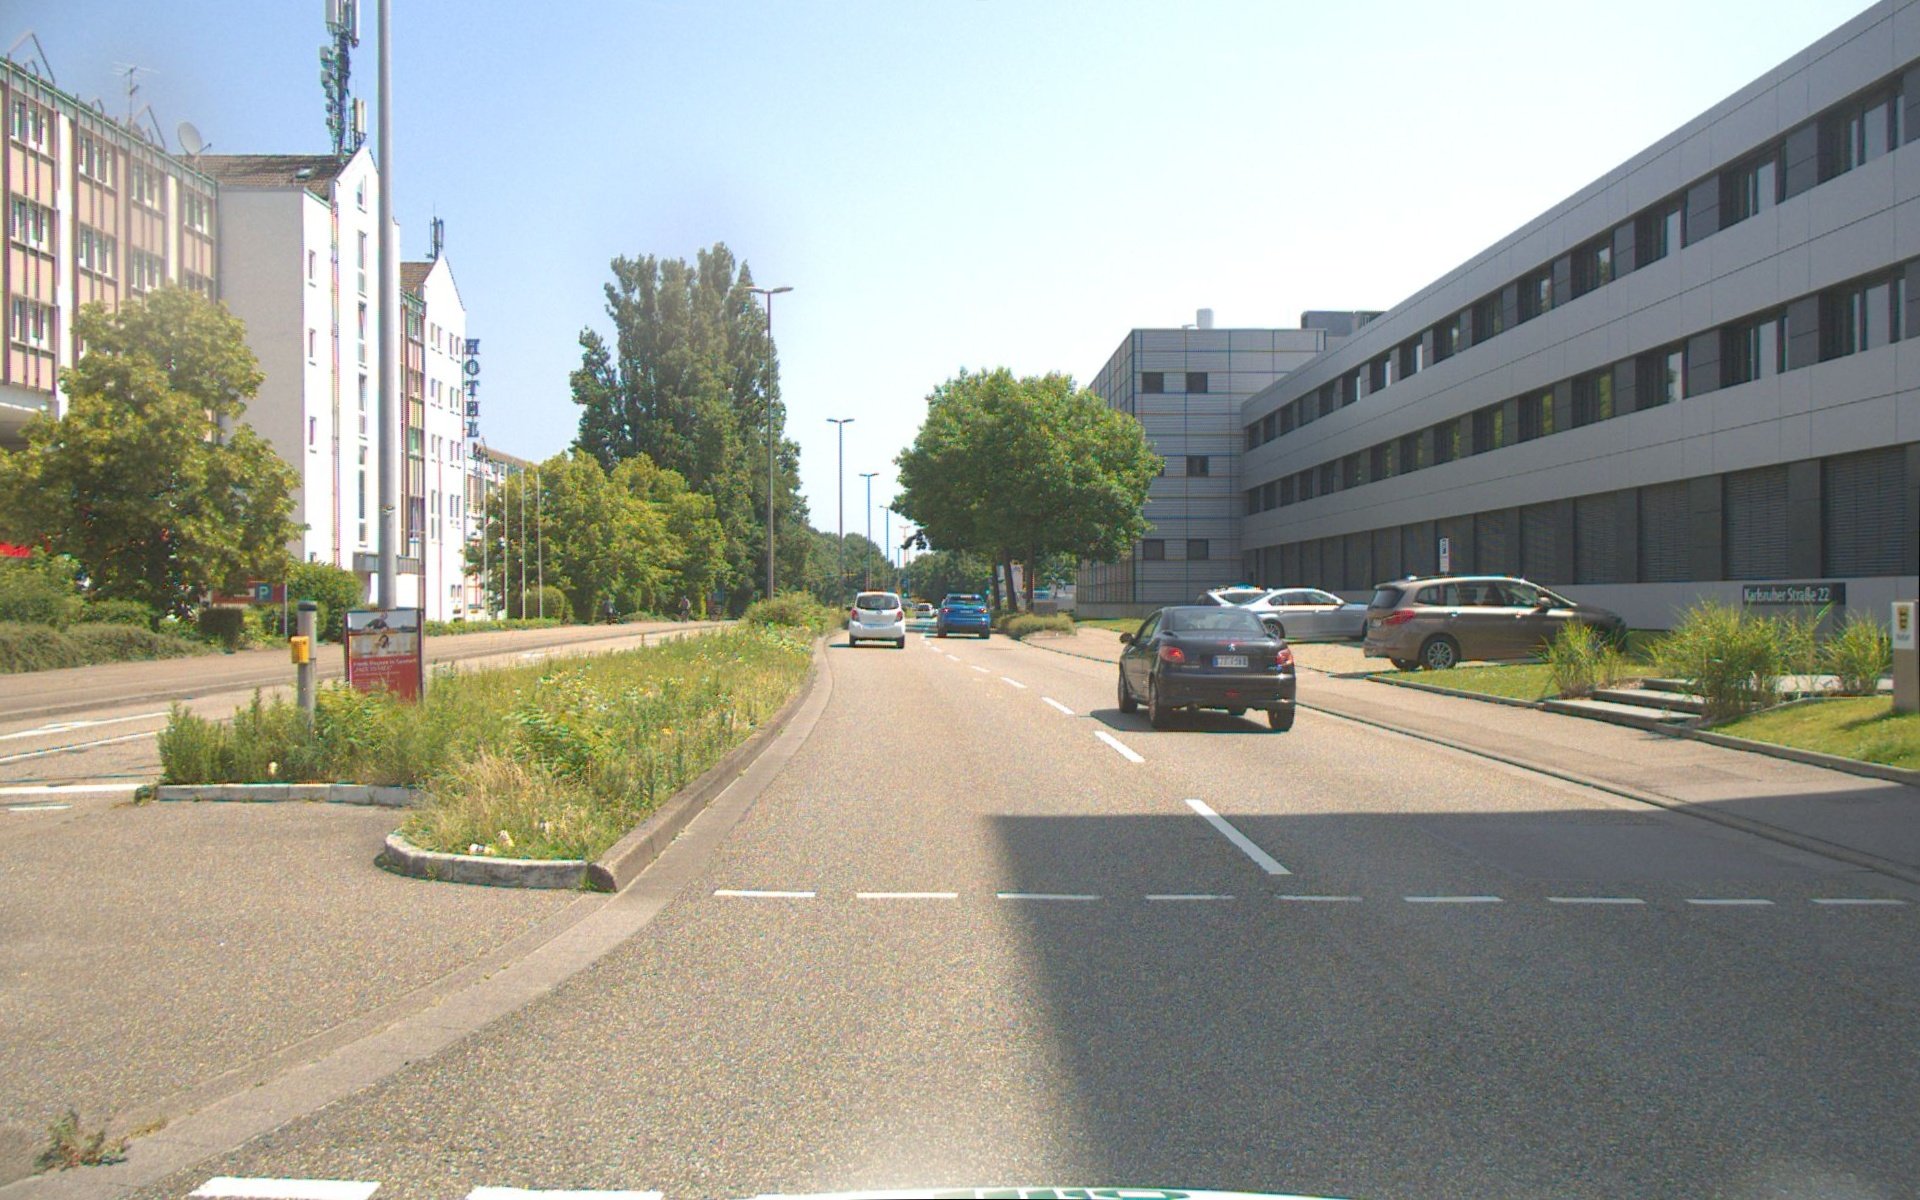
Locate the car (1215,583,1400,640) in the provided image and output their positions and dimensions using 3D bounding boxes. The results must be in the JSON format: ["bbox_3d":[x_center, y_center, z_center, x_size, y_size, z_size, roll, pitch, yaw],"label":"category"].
[{"bbox_3d":[9.353,0.305,44.739,4.523,1.414,1.998,-1,0,-5],"label":"car"}]

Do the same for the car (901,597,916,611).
[{"bbox_3d":[-6.628,0.475,213.481,1.784,1.691,3.996,-1,1,-5],"label":"car"}]

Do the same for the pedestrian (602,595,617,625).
[{"bbox_3d":[-18.400,0.521,86.870,0.620,1.572,0.727,-1,-1,-1],"label":"pedestrian"}]

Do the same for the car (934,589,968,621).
[{"bbox_3d":[-0.408,0.223,81.444,1.527,1.546,3.606,0,0,2],"label":"car"}]

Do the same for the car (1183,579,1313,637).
[{"bbox_3d":[9.271,0.241,53.355,3.739,1.619,1.730,-3,0,-5],"label":"car"}]

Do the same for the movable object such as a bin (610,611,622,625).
[{"bbox_3d":[-18.001,0.935,86.537,0.419,0.718,0.652,-1,0,7],"label":"movable object such as a bin"}]

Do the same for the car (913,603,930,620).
[{"bbox_3d":[-3.976,1.131,169.971,1.783,1.691,3.999,-1,0,-2],"label":"car"}]

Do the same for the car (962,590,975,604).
[{"bbox_3d":[1.331,-0.486,253.098,1.735,2.049,3.987,-1,0,-4],"label":"car"}]

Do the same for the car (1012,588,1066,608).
[{"bbox_3d":[6.737,-0.143,141.633,4.408,1.610,1.999,-1,-1,-2],"label":"car"}]

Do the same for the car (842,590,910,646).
[{"bbox_3d":[-2.379,0.490,47.739,1.712,1.546,3.746,1,0,0],"label":"car"}]

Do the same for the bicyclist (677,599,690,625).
[{"bbox_3d":[-17.046,0.725,101.892,0.703,1.542,1.026,-1,0,-5],"label":"bicyclist"}]

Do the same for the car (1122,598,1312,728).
[{"bbox_3d":[2.989,0.691,19.876,1.594,1.388,3.604,0,0,-2],"label":"car"}]

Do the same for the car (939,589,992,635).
[{"bbox_3d":[0.161,0.422,60.112,1.791,1.608,3.604,0,0,-2],"label":"car"}]

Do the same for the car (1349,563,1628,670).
[{"bbox_3d":[9.167,0.273,28.897,4.176,1.718,1.998,-1,0,-5],"label":"car"}]
